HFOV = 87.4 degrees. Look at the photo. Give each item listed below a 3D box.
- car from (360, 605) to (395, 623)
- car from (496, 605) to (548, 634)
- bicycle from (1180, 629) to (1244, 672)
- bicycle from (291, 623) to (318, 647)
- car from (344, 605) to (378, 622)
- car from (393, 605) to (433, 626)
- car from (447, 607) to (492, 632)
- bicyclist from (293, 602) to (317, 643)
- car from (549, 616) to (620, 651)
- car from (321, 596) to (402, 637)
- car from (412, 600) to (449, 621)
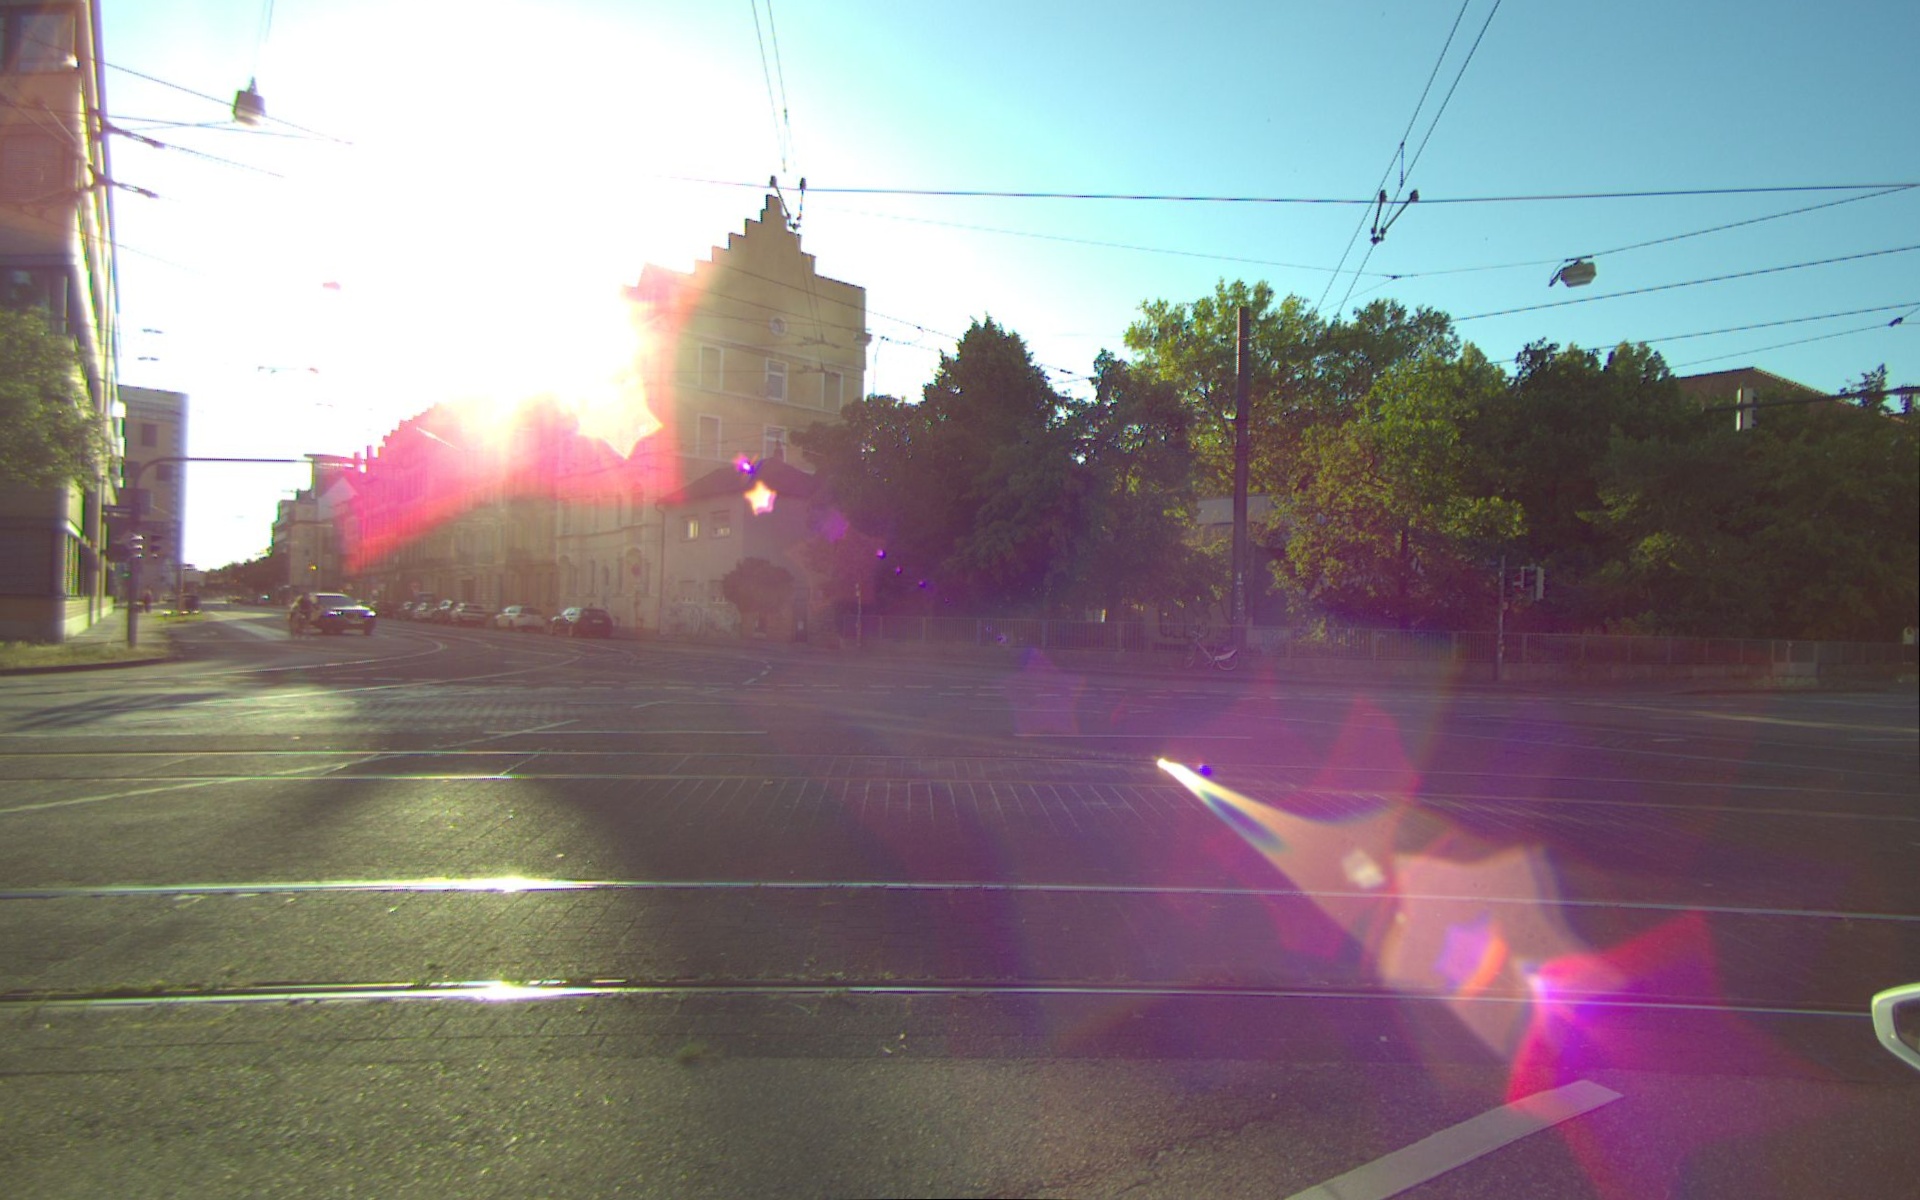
[{"bbox_3d":[-51.835,1.203,89.330,1.856,1.506,3.950,2,-1,-42],"label":"car"},{"bbox_3d":[-24.388,1.093,55.866,1.827,1.506,3.958,2,-1,-37],"label":"car"},{"bbox_3d":[7.119,1.422,28.411,1.687,1.157,0.559,1,0,9],"label":"bicycle"},{"bbox_3d":[-23.877,1.262,36.598,0.653,0.844,1.672,2,-1,-38],"label":"bicycle"},{"bbox_3d":[-56.617,1.247,94.970,1.986,1.506,3.950,2,-1,-43],"label":"car"},{"bbox_3d":[-42.387,1.203,77.821,1.868,1.506,3.950,2,-1,-42],"label":"car"},{"bbox_3d":[-31.261,1.245,63.978,1.832,1.506,3.958,2,-1,-37],"label":"car"},{"bbox_3d":[-23.895,0.831,36.642,0.662,1.472,0.735,2,-1,-39],"label":"bicyclist"},{"bbox_3d":[-17.974,1.586,47.961,1.983,1.506,3.954,2,-1,-39],"label":"car"},{"bbox_3d":[-23.662,0.646,39.684,1.986,1.506,3.950,2,-1,-42],"label":"car"},{"bbox_3d":[-39.177,0.772,74.292,1.832,1.506,3.958,2,-1,-37],"label":"car"}]
